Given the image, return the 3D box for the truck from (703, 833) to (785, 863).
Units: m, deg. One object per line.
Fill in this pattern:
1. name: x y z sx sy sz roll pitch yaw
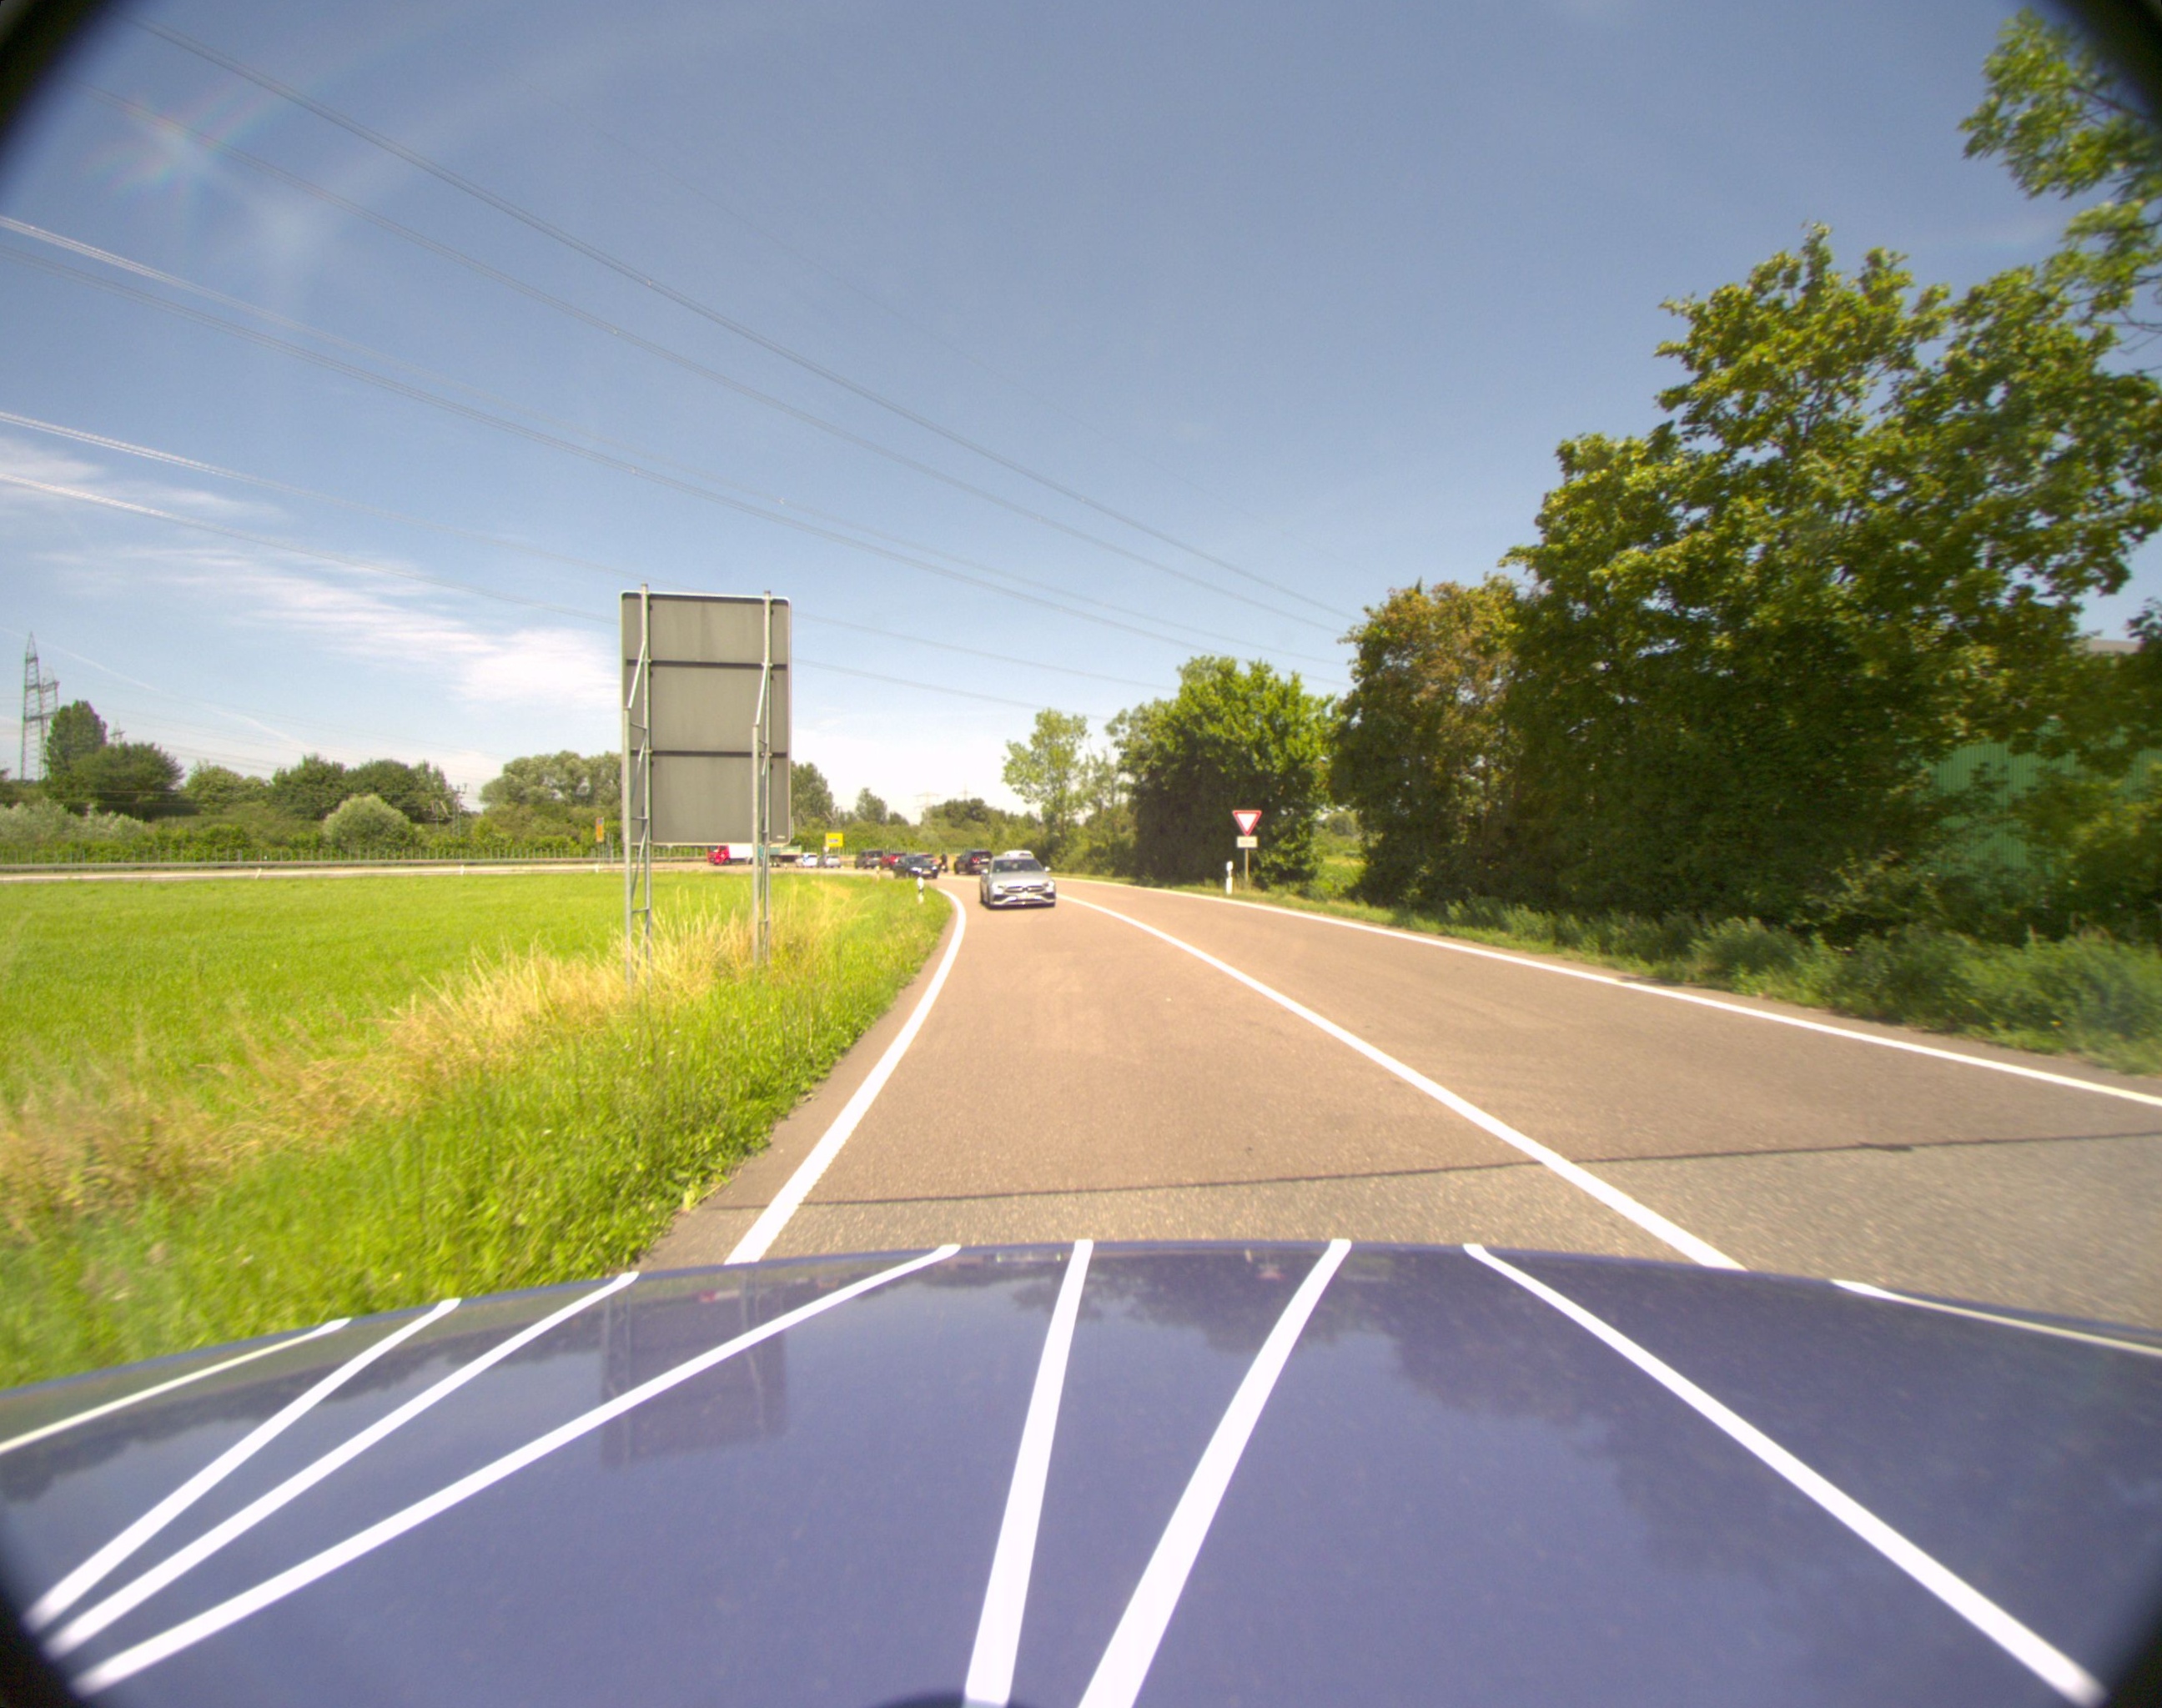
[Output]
1. truck: -43.474 -0.827 98.355 2.718 3.560 9.571 0 3 34

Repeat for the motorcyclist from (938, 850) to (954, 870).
1. motorcyclist: -9.950 0.425 56.039 0.784 1.487 1.128 -2 2 -31

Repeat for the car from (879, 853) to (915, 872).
1. car: -15.895 0.671 65.535 1.807 1.507 4.380 -1 1 -31

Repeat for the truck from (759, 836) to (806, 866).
1. truck: -35.571 -0.360 90.465 2.616 3.451 7.587 -1 1 -43

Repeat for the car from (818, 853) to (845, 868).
1. car: -26.281 0.687 79.967 1.640 1.451 3.997 -1 1 -35

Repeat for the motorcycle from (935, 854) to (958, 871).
1. motorcycle: -9.917 0.601 56.002 0.785 1.117 2.423 -3 2 -31

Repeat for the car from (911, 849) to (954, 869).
1. car: -11.896 0.348 60.514 1.850 1.452 4.796 -2 2 -31

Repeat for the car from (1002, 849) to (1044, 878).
1. car: -3.311 0.502 42.598 1.542 1.435 3.601 -4 2 -17

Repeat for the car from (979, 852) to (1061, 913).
1. car: -1.867 0.741 22.001 1.826 1.478 4.144 -2 1 -11

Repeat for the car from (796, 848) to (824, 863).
1. car: -30.227 0.188 84.813 1.781 1.611 4.319 -3 2 -35

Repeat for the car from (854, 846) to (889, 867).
1. car: -19.732 0.219 71.399 1.936 1.822 4.427 -1 1 -33

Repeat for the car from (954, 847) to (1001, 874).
1. car: -6.771 0.408 49.389 1.709 1.629 4.240 -3 2 -25

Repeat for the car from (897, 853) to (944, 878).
1. car: -9.783 0.657 46.091 1.828 1.431 4.139 -1 1 -26
